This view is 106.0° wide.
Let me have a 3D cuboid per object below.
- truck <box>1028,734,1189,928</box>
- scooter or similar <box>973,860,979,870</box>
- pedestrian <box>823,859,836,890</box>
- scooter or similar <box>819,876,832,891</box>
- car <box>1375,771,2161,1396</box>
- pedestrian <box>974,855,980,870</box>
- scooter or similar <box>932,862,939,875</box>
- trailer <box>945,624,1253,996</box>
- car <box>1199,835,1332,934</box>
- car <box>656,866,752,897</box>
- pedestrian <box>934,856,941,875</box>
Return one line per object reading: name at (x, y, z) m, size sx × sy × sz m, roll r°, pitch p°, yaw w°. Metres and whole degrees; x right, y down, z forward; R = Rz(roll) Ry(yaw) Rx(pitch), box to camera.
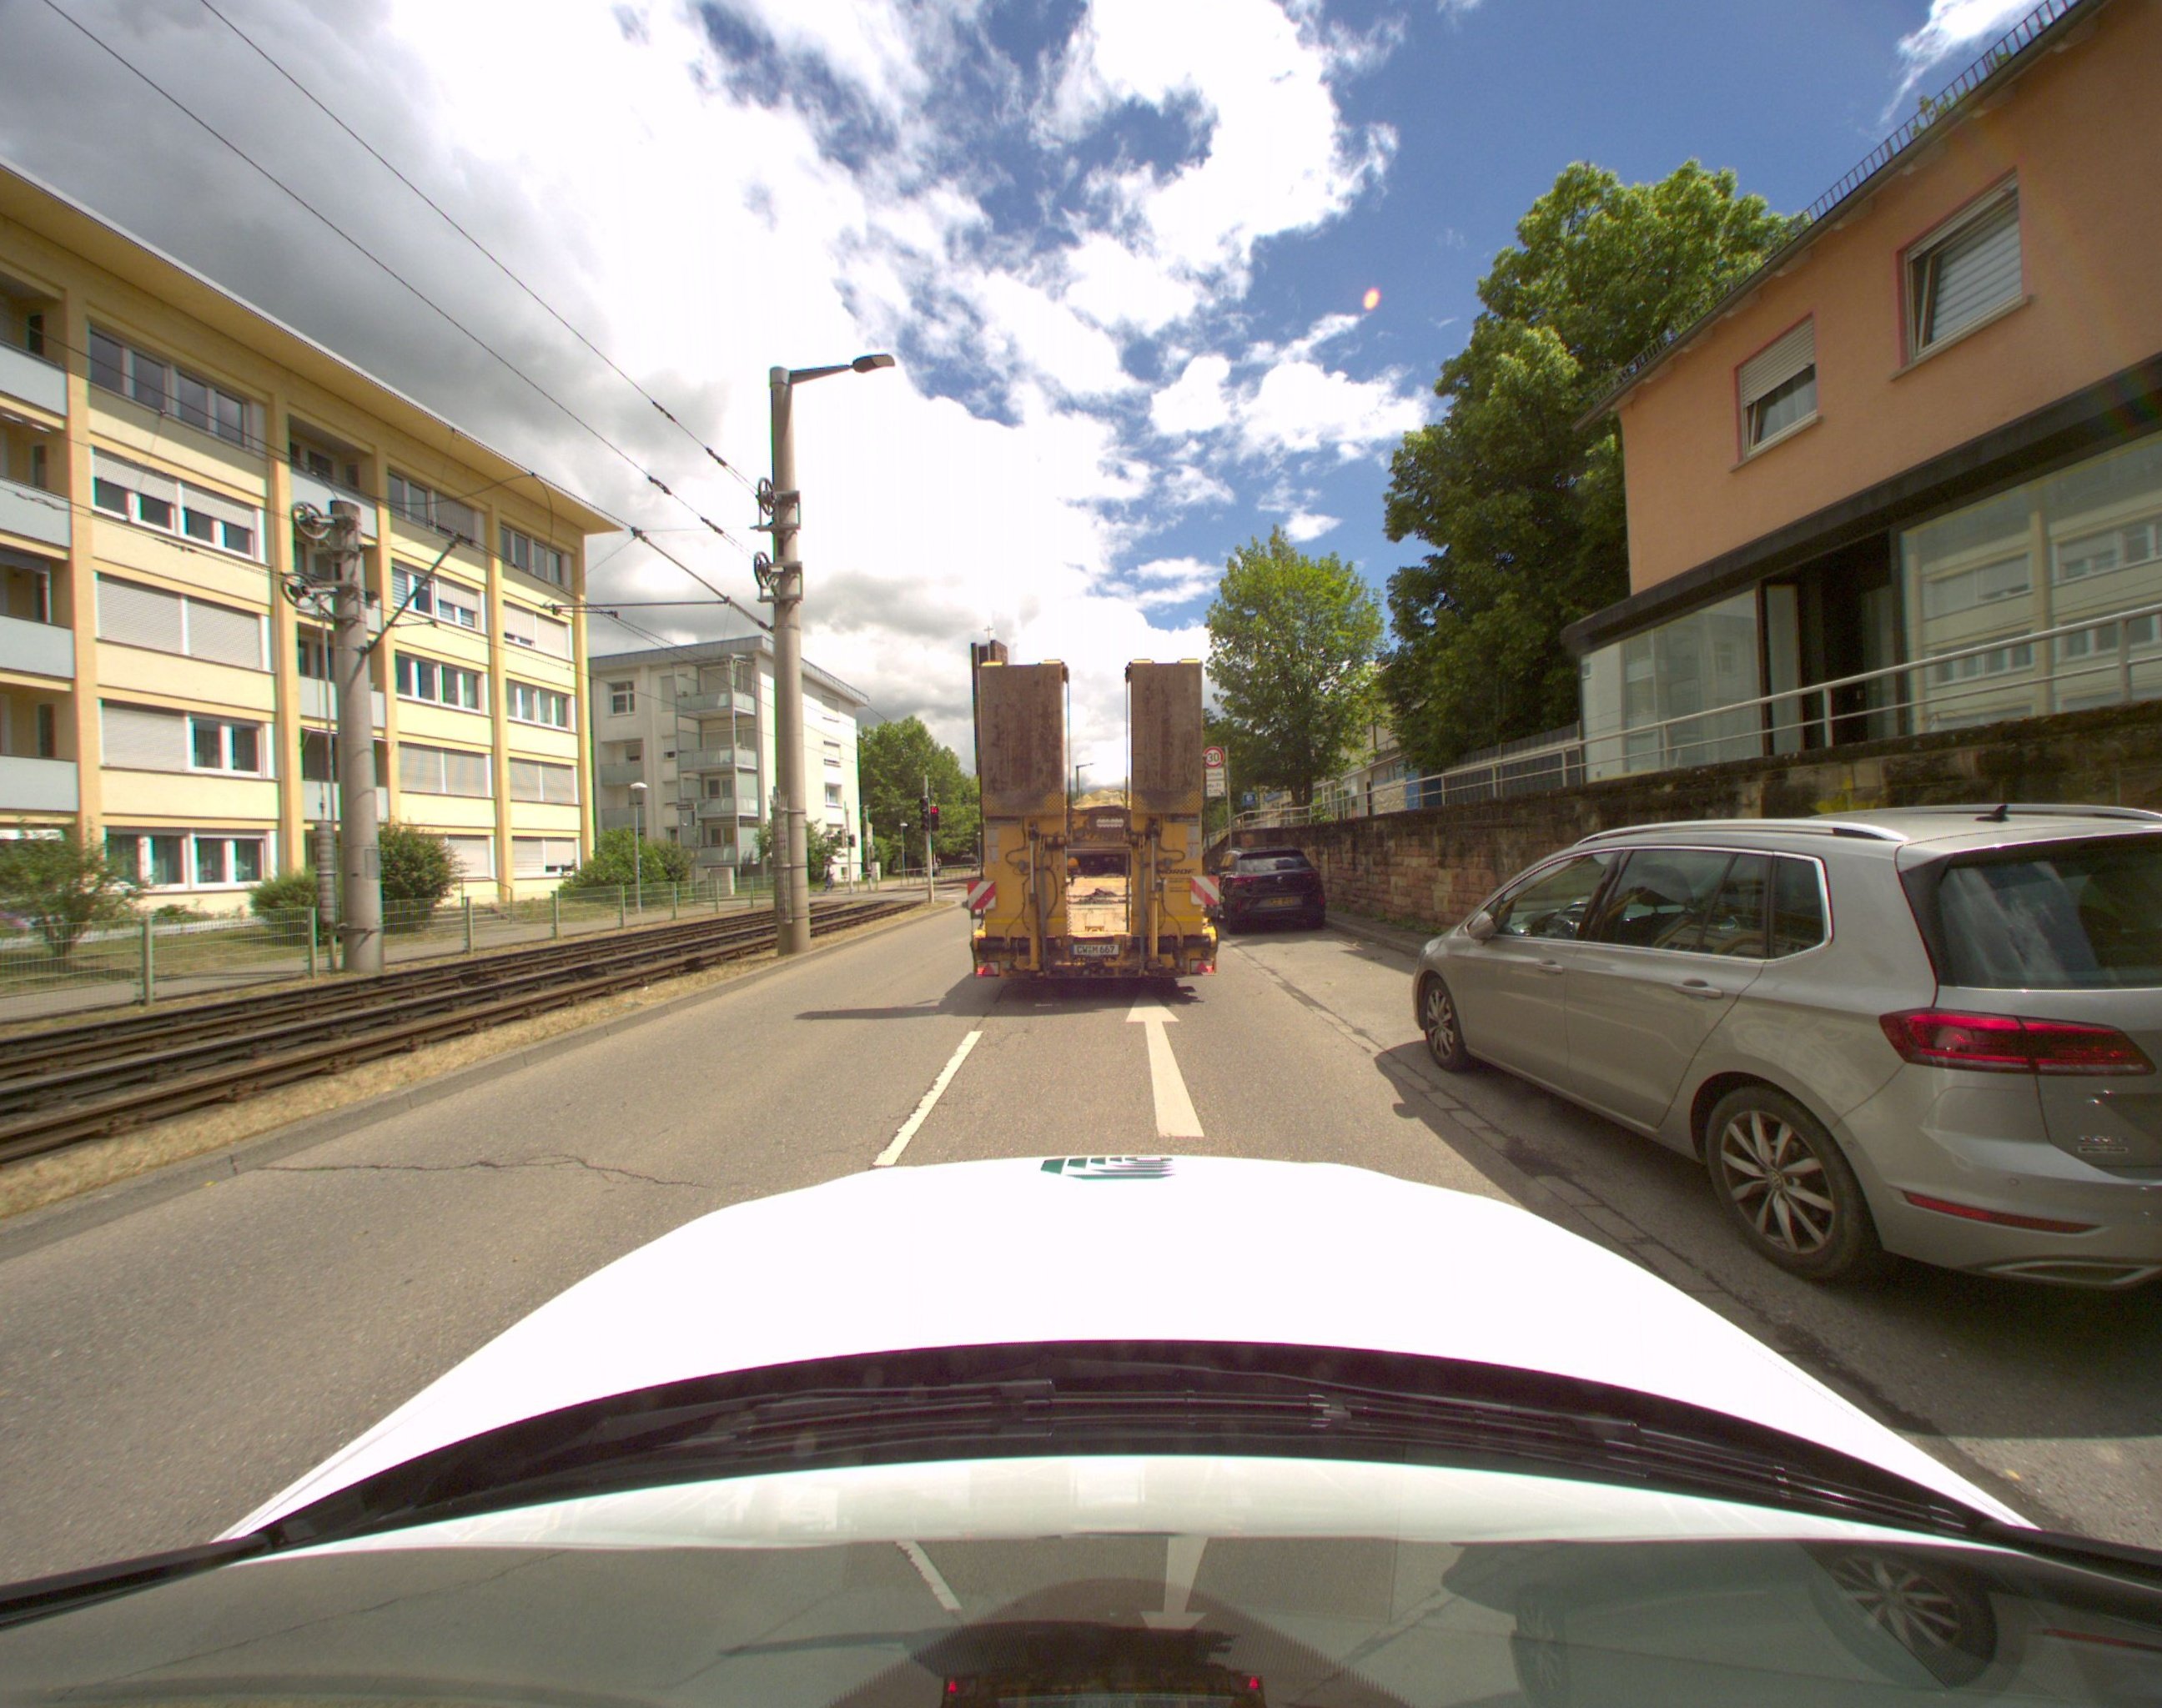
truck at (0.634, -0.442, 17.954) m, size 2.931 × 3.572 × 4.880 m, roll -2°, pitch 0°, yaw 2°
scooter or similar at (-10.685, 1.146, 82.812) m, size 0.504 × 0.971 × 0.646 m, roll 0°, pitch 0°, yaw 1°
pedestrian at (-13.031, 1.081, 42.237) m, size 0.435 × 1.581 × 0.475 m, roll -2°, pitch 0°, yaw 6°
scooter or similar at (-13.086, 1.502, 41.752) m, size 0.435 × 0.747 × 0.475 m, roll -2°, pitch 0°, yaw 7°
car at (3.212, 0.570, 4.278) m, size 1.783 × 1.617 × 4.249 m, roll -3°, pitch 0°, yaw 1°
pedestrian at (-10.648, 0.876, 83.464) m, size 0.562 × 1.513 × 0.646 m, roll 0°, pitch 0°, yaw 1°
scooter or similar at (-11.834, 1.158, 66.163) m, size 0.336 × 1.058 × 0.689 m, roll -3°, pitch -1°, yaw 8°
trailer at (0.384, -0.441, 12.462) m, size 2.933 × 3.601 × 8.690 m, roll -2°, pitch 0°, yaw 3°
car at (3.521, 0.534, 16.256) m, size 1.843 × 1.639 × 4.003 m, roll -3°, pitch 0°, yaw 3°
car at (-19.197, 1.385, 41.538) m, size 3.963 × 1.345 × 1.906 m, roll -2°, pitch 0°, yaw 9°
pedestrian at (-11.754, 0.925, 66.813) m, size 0.346 × 1.537 × 0.558 m, roll -2°, pitch 0°, yaw 5°
